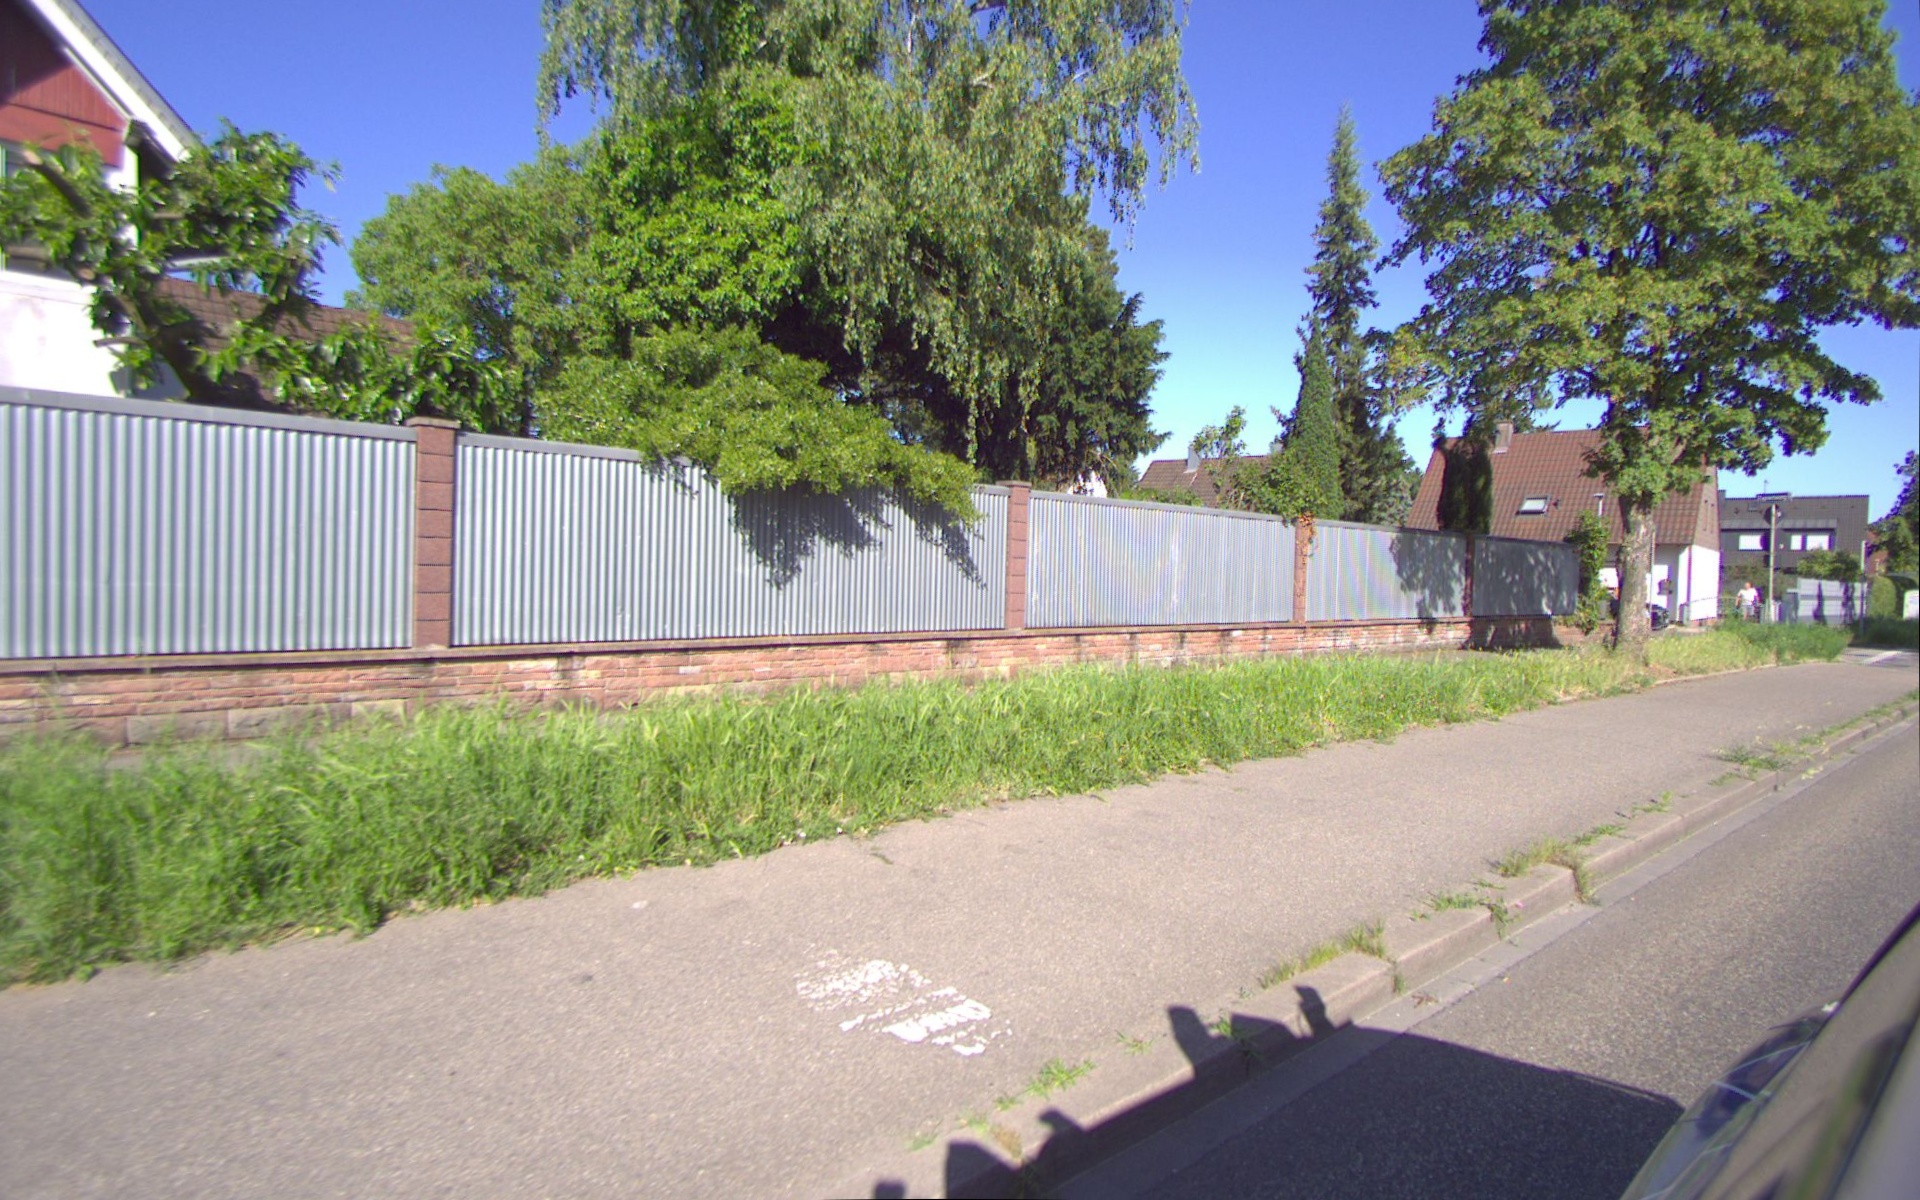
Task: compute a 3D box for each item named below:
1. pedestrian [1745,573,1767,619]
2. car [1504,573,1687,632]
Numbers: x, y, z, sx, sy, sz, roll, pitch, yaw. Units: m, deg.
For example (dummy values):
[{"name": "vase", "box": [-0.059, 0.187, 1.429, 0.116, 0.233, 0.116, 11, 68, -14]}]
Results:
[{"name": "pedestrian", "box": [30.437, -0.168, 38.712, 0.626, 1.729, 0.606, 1, 1, 37]}, {"name": "car", "box": [20.672, 0.030, 33.062, 4.744, 1.677, 2.038, 3, 2, 44]}]
